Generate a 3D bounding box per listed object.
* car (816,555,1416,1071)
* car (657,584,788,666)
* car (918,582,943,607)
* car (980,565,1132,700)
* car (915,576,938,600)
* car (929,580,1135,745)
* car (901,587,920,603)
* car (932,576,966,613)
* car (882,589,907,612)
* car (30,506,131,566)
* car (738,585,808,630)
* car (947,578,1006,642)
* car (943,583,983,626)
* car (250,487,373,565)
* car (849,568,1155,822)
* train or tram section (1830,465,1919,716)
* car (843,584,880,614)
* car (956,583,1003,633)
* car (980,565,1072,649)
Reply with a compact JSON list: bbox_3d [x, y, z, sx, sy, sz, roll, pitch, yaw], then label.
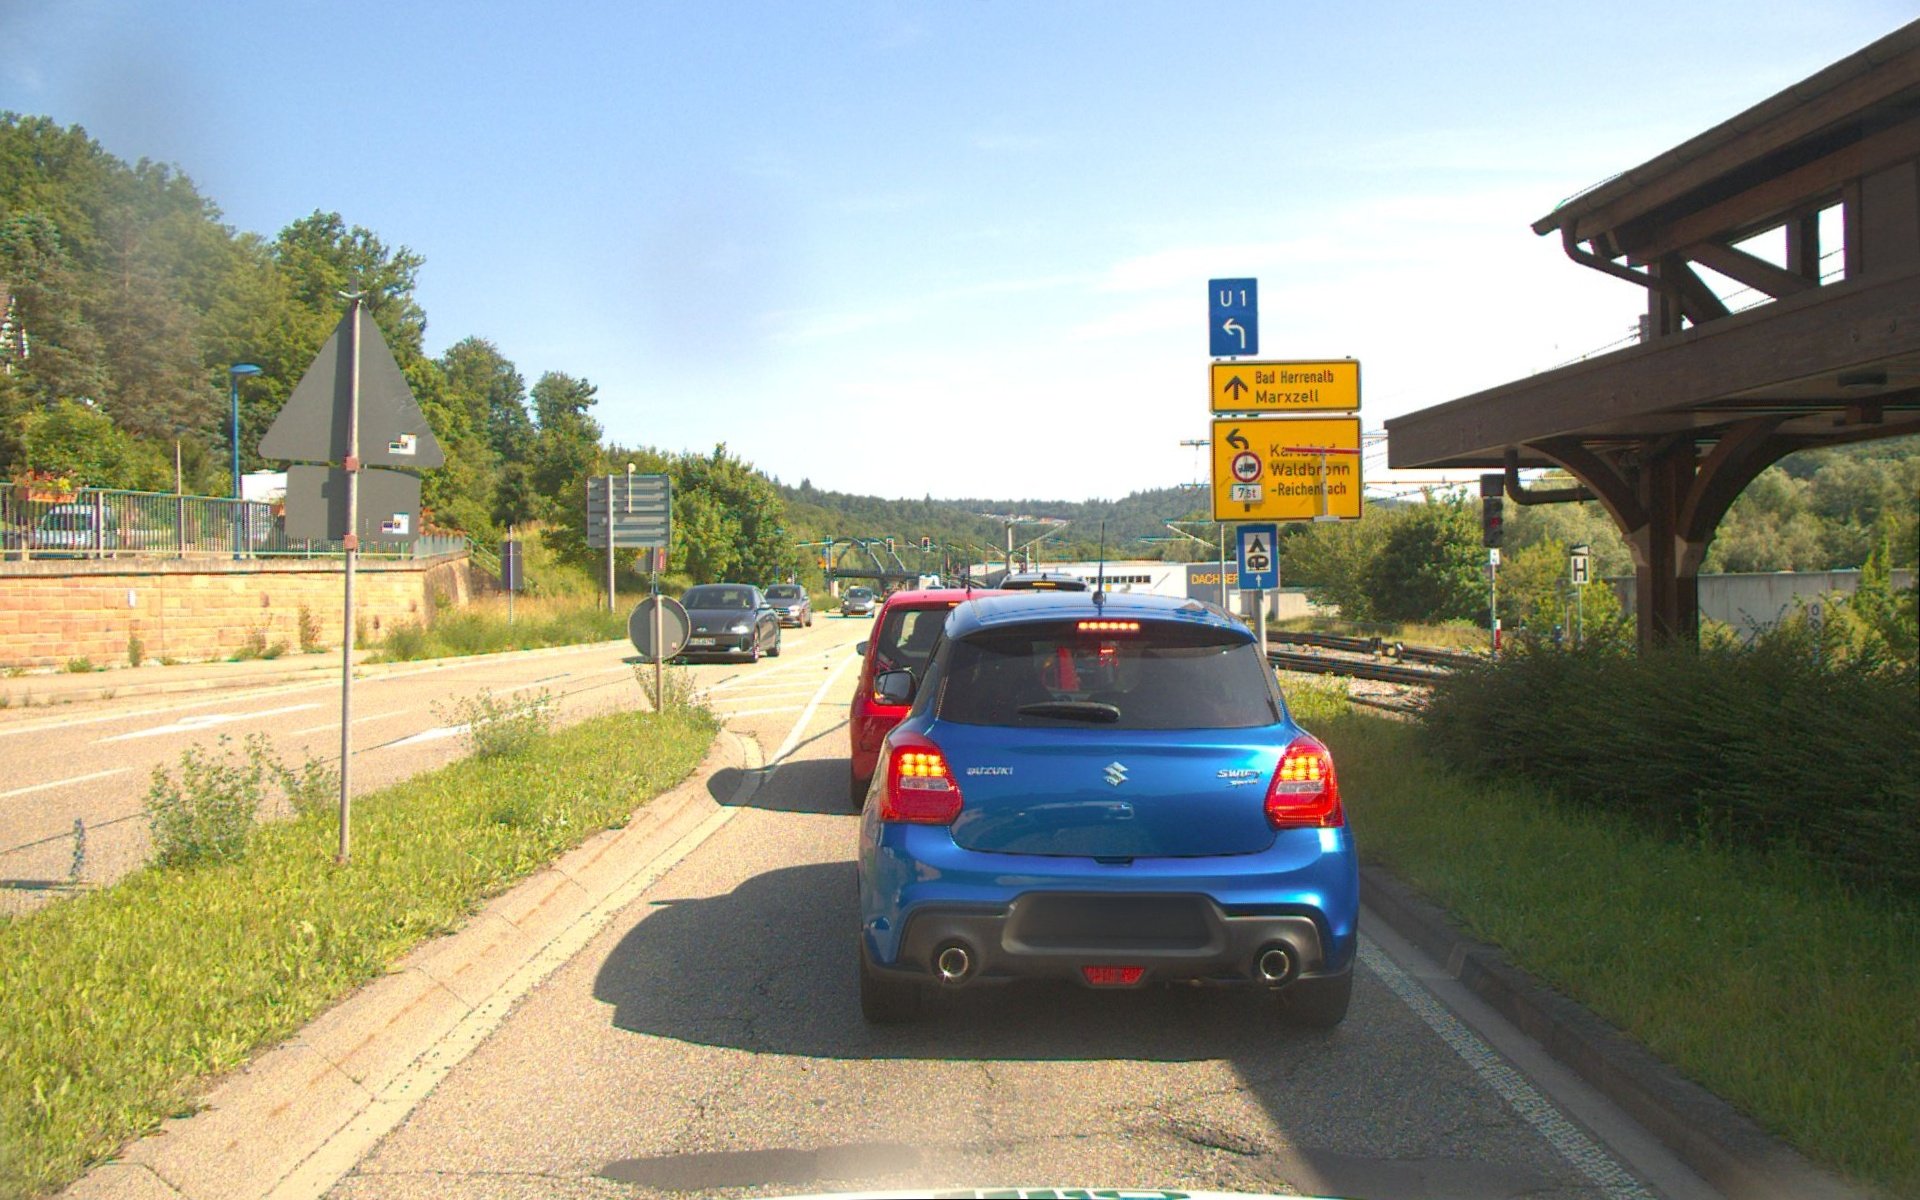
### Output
[{"bbox_3d":[0.434,0.641,7.071,1.830,1.575,3.999,1,0,-2],"label":"car"},{"bbox_3d":[-4.618,0.447,32.801,1.754,1.496,4.717,0,0,2],"label":"car"},{"bbox_3d":[-2.456,-0.466,136.566,1.953,1.848,4.000,2,1,-1],"label":"car"},{"bbox_3d":[1.301,0.408,24.107,1.952,1.716,4.497,2,1,1],"label":"car"},{"bbox_3d":[-3.066,-1.100,151.911,1.953,2.181,4.719,1,0,-1],"label":"car"},{"bbox_3d":[0.713,0.575,18.013,1.952,1.558,4.602,0,1,1],"label":"car"},{"bbox_3d":[-5.250,-0.564,177.081,1.953,1.581,4.214,2,0,-1],"label":"car"},{"bbox_3d":[-0.667,-0.366,99.488,1.953,2.048,4.000,2,1,-1],"label":"car"},{"bbox_3d":[-5.552,0.024,140.018,1.953,1.814,3.999,1,0,-1],"label":"car"},{"bbox_3d":[-26.123,-1.877,49.255,1.864,1.658,3.982,0,1,-16],"label":"car"},{"bbox_3d":[-6.806,0.238,60.669,1.952,1.591,4.510,1,1,1],"label":"car"},{"bbox_3d":[0.544,0.319,58.704,1.953,2.048,4.000,2,1,-1],"label":"car"},{"bbox_3d":[0.114,0.221,85.387,1.953,2.048,4.000,2,1,-1],"label":"car"},{"bbox_3d":[-17.671,-1.982,45.318,1.982,1.953,4.724,2,1,-7],"label":"car"},{"bbox_3d":[0.297,0.612,12.739,1.952,1.598,4.000,1,0,1],"label":"car"},{"bbox_3d":[14.607,-0.034,18.667,2.701,3.422,12.043,2,1,-3],"label":"train or tram section"},{"bbox_3d":[-5.010,-0.044,84.535,1.637,1.466,3.840,1,0,1],"label":"car"},{"bbox_3d":[0.855,0.342,74.257,1.953,2.048,4.000,2,1,-1],"label":"car"},{"bbox_3d":[1.470,0.129,38.029,1.952,1.766,4.000,2,1,1],"label":"car"}]
